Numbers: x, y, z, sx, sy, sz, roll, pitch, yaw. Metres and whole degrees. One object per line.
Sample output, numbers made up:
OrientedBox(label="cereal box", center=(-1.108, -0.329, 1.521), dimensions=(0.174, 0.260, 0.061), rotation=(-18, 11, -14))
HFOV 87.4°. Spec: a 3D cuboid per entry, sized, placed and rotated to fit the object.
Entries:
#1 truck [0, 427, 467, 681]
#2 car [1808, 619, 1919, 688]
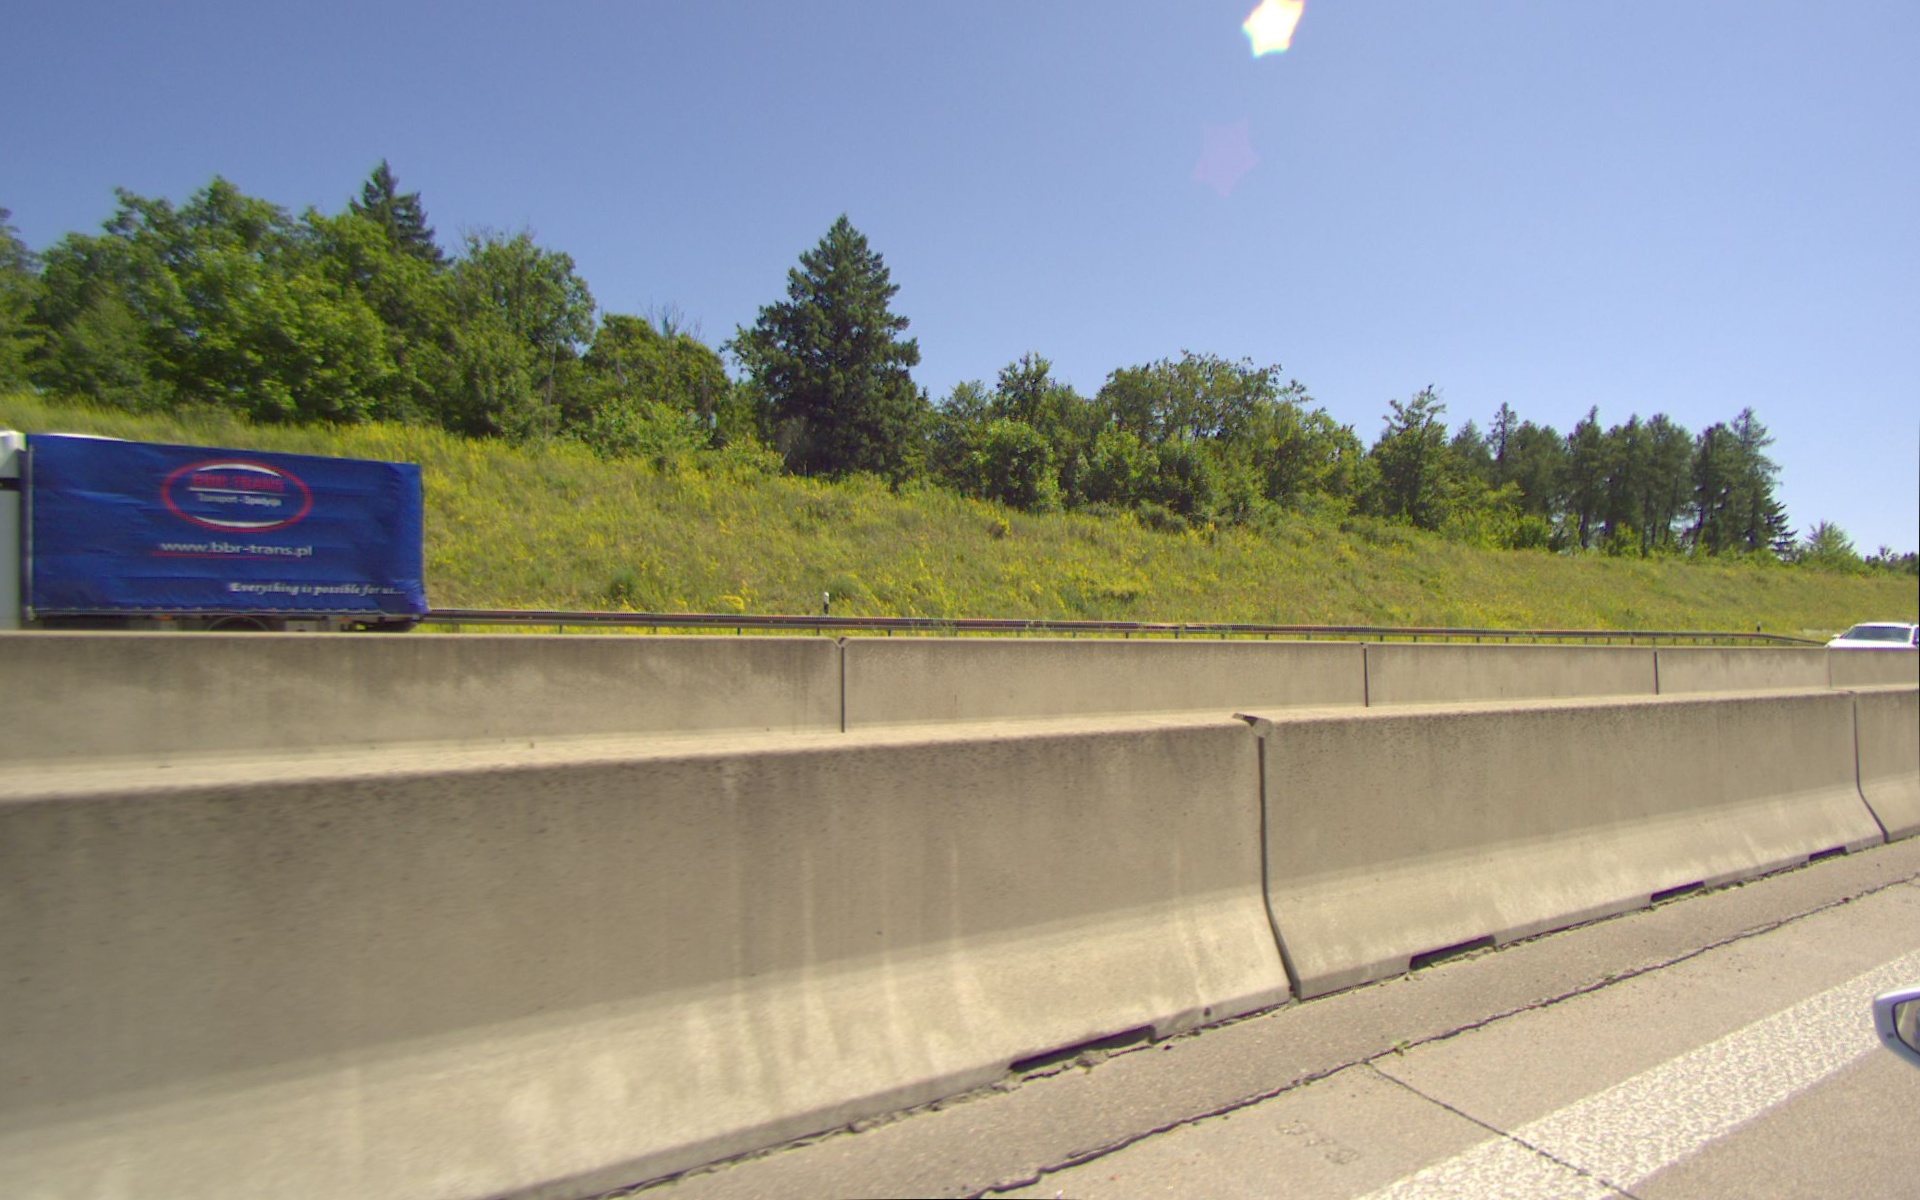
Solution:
OrientedBox(label="truck", center=(-11.150, -0.536, 13.647), dimensions=(7.748, 3.029, 2.548), rotation=(2, 0, -32))
OrientedBox(label="car", center=(24.637, 1.381, 26.726), dimensions=(4.365, 1.626, 1.982), rotation=(2, 0, -33))
